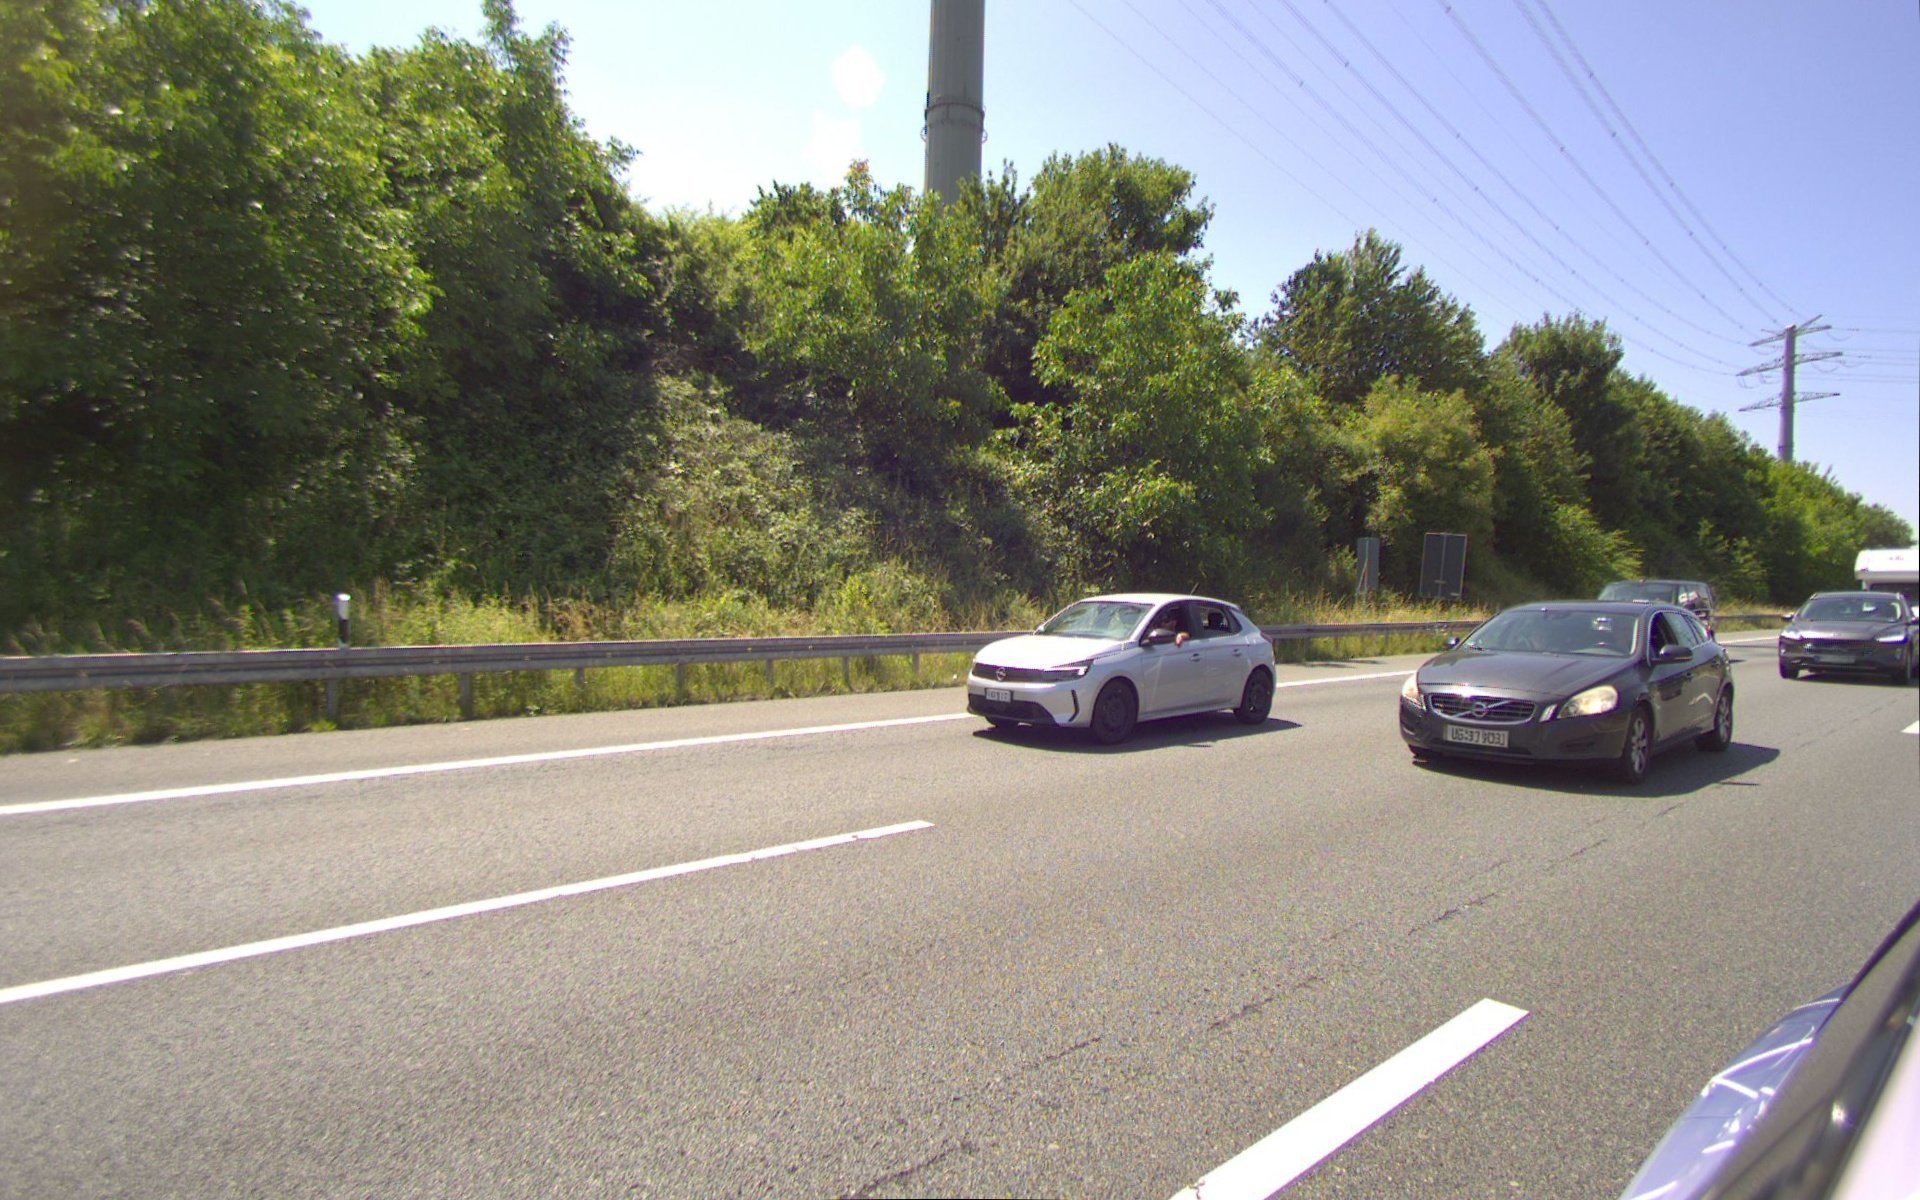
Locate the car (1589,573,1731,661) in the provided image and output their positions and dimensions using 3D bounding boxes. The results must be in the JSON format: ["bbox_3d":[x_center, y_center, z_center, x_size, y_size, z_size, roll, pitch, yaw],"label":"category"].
[{"bbox_3d":[17.038,0.357,24.537,4.617,1.928,1.787,0,0,-41],"label":"car"}]

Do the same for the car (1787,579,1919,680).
[{"bbox_3d":[17.434,0.482,19.380,4.309,1.724,1.889,0,0,-43],"label":"car"}]

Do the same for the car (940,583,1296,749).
[{"bbox_3d":[1.844,0.583,11.080,3.944,1.488,1.744,0,0,-41],"label":"car"}]

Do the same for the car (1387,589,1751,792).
[{"bbox_3d":[5.759,0.633,9.345,4.159,1.455,1.798,0,0,-43],"label":"car"}]

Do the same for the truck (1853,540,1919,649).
[{"bbox_3d":[30.419,-0.184,31.542,9.722,3.053,2.513,0,0,-40],"label":"truck"}]
